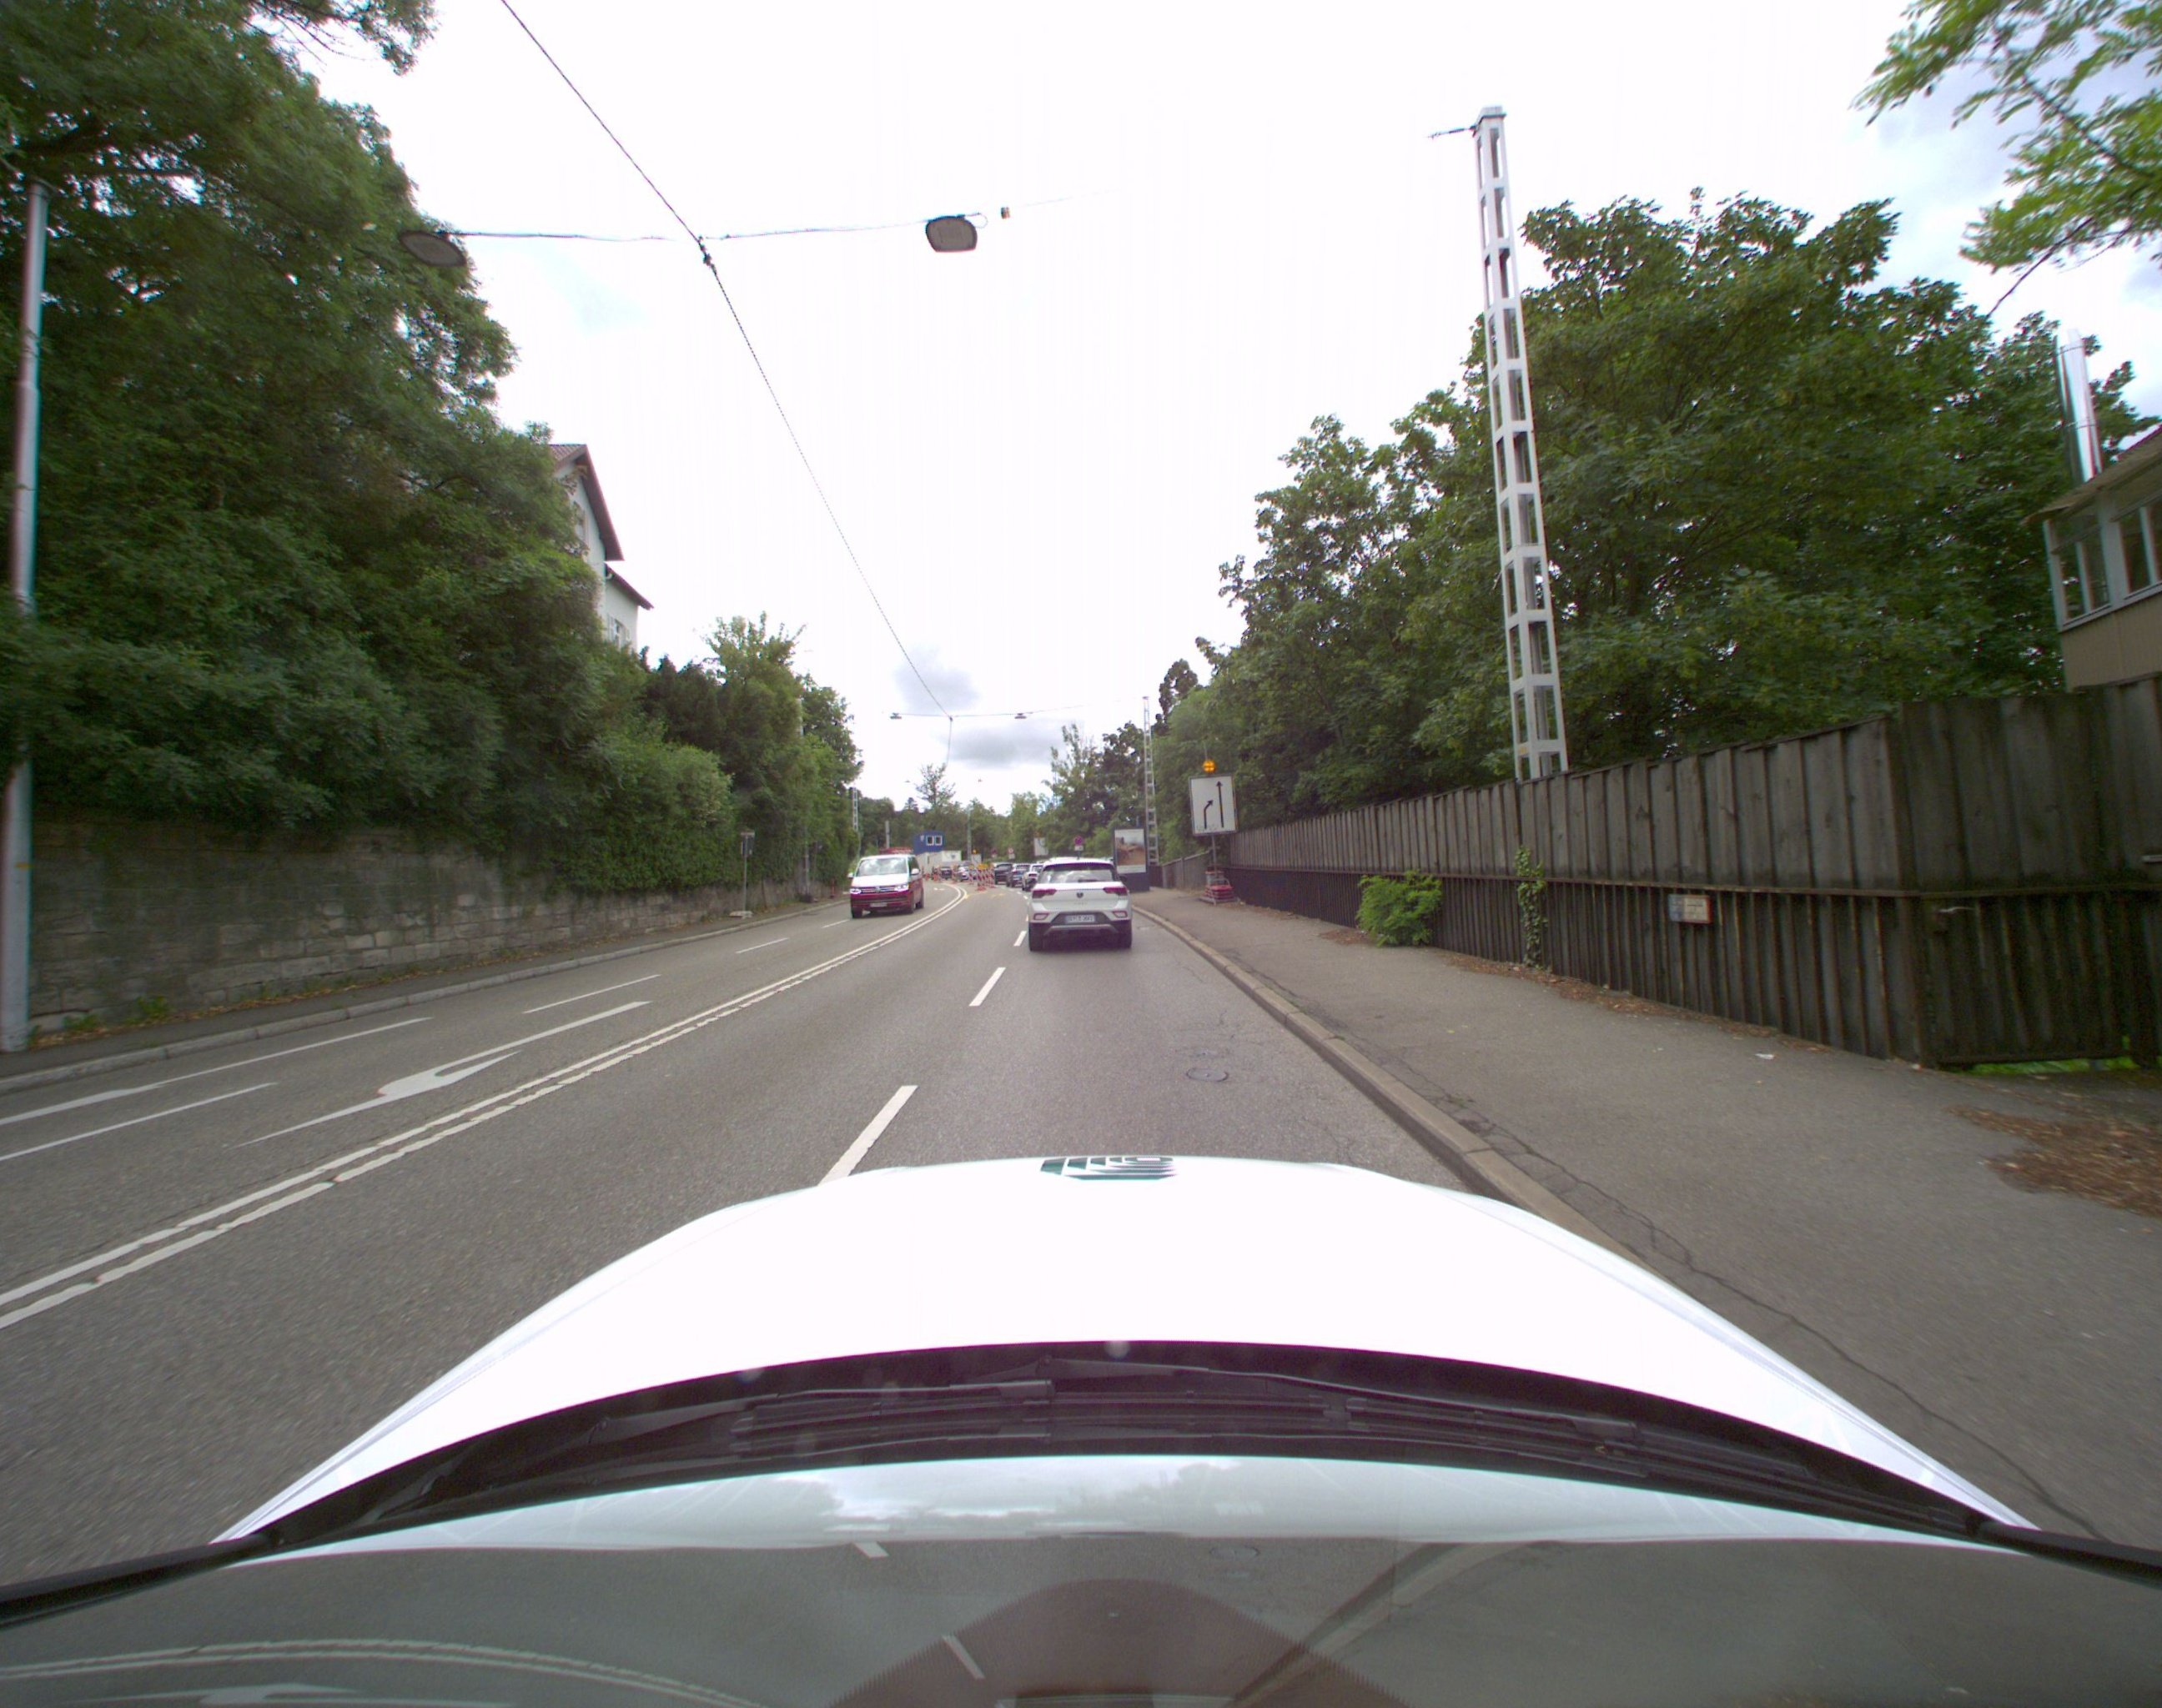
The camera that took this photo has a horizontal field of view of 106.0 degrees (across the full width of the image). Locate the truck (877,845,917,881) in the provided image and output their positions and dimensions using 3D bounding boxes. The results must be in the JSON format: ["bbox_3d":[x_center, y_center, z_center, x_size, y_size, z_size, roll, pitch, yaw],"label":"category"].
[{"bbox_3d":[-20.456,0.999,90.130,2.956,3.698,9.849,-2,-1,-20],"label":"truck"}]

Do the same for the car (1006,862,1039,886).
[{"bbox_3d":[-3.883,1.315,53.427,1.991,1.414,4.142,-4,-1,-5],"label":"car"}]

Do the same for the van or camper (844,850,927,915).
[{"bbox_3d":[-6.409,0.899,27.224,1.887,1.878,4.756,-4,-1,-5],"label":"van or camper"}]

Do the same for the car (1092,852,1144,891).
[{"bbox_3d":[1.605,0.761,36.859,1.762,1.522,4.386,-5,0,-4],"label":"car"}]

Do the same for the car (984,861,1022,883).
[{"bbox_3d":[-6.036,1.385,62.549,1.999,1.556,4.126,-2,0,-17],"label":"car"}]

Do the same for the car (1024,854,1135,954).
[{"bbox_3d":[-0.126,0.822,15.010,1.754,1.556,3.791,-2,-1,-3],"label":"car"}]

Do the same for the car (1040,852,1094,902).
[{"bbox_3d":[-0.557,0.792,29.048,1.754,1.609,3.791,-2,-1,-3],"label":"car"}]

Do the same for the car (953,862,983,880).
[{"bbox_3d":[-10.519,1.608,75.478,1.999,1.450,4.124,-3,-1,-18],"label":"car"}]

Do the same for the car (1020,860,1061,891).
[{"bbox_3d":[-2.174,1.112,42.864,1.757,1.471,3.784,-2,-1,-9],"label":"car"}]

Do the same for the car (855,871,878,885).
[{"bbox_3d":[-23.214,2.605,87.911,1.903,1.382,3.971,-4,0,-21],"label":"car"}]

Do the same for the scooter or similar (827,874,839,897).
[{"bbox_3d":[-13.254,1.662,43.574,0.538,1.205,1.274,0,-1,-13],"label":"scooter or similar"}]

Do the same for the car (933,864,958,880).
[{"bbox_3d":[-14.390,1.925,86.336,2.000,1.450,4.123,-3,-1,-19],"label":"car"}]
